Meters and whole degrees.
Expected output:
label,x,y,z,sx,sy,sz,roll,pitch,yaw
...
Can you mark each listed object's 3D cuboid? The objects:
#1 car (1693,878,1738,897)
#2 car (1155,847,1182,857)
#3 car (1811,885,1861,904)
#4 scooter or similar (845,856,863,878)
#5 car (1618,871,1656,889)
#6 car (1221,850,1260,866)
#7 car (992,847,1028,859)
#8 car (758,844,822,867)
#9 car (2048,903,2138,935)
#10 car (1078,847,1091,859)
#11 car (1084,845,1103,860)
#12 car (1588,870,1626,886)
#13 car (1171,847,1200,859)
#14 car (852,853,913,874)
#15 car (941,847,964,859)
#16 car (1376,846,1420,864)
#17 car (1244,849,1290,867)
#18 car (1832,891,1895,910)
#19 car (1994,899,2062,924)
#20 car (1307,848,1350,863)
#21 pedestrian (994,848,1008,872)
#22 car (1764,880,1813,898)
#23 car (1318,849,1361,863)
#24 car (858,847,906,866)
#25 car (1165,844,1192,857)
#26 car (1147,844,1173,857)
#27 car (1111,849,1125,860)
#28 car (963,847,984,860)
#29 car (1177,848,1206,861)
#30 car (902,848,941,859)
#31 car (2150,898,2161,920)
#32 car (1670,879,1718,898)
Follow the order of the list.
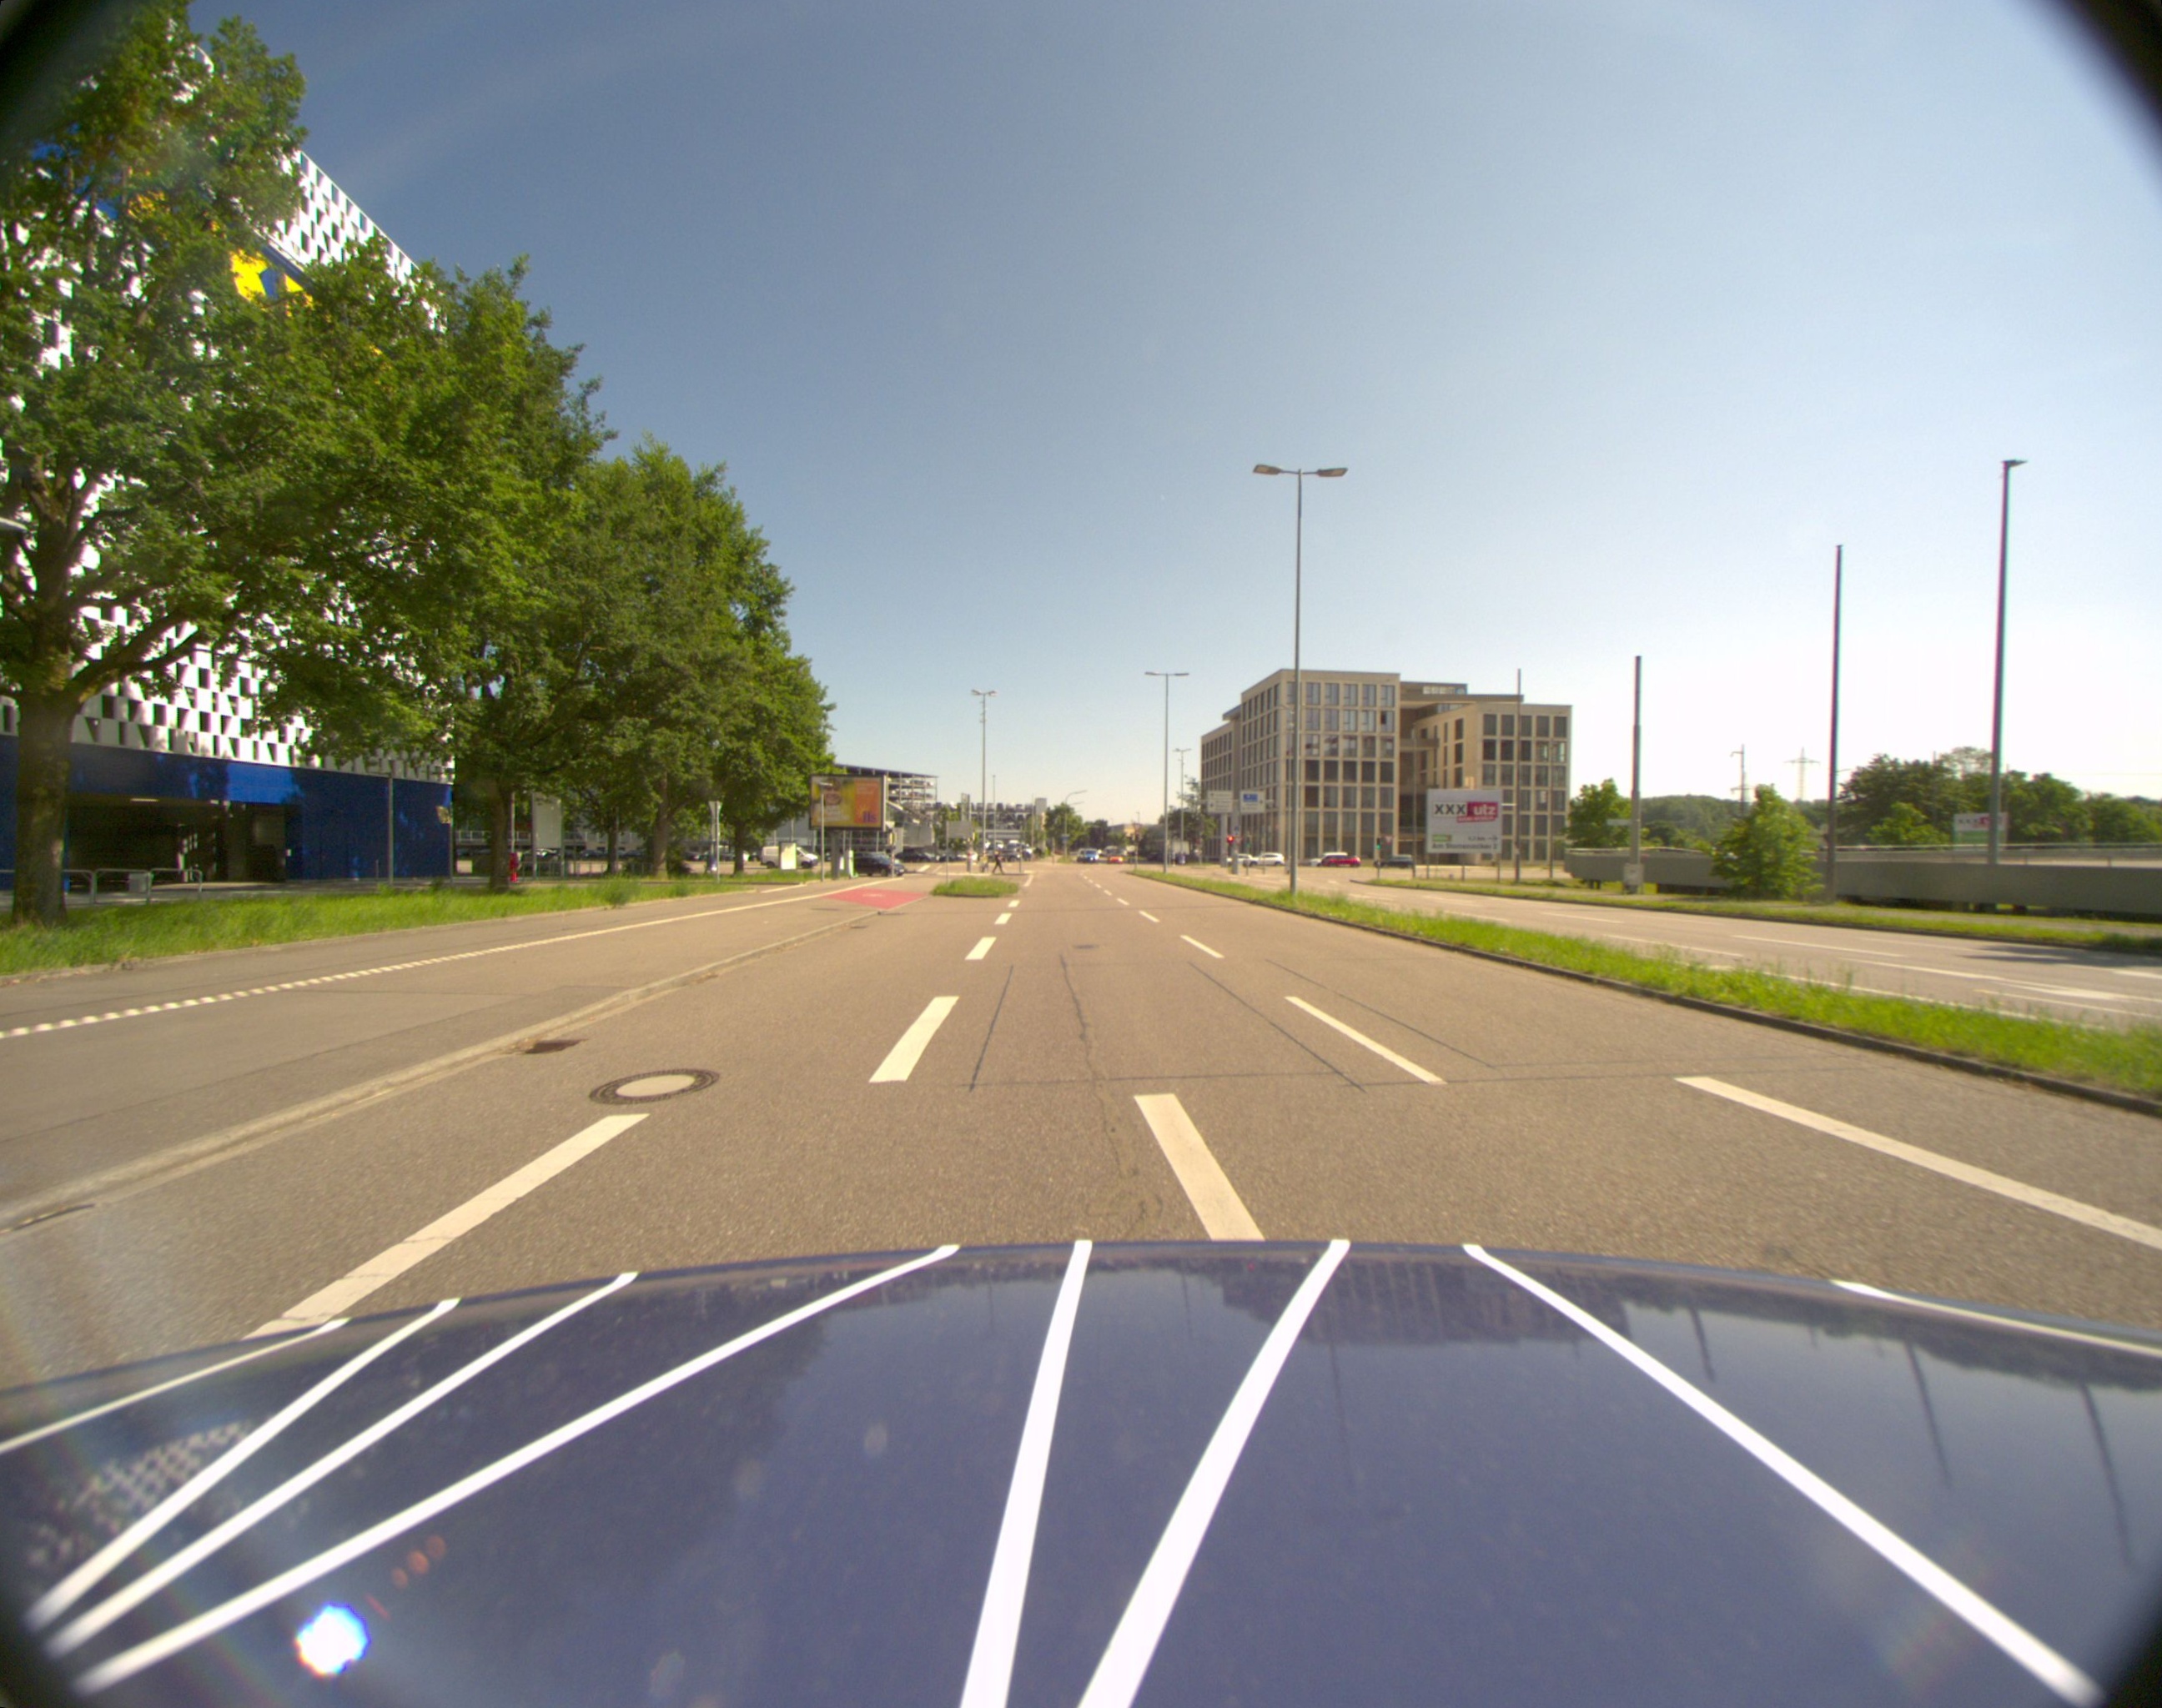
label,x,y,z,sx,sy,sz,roll,pitch,yaw
car,34.662,1.837,41.518,1.848,0.970,0.865,0,2,-7
car,14.279,-0.324,123.886,3.992,1.605,2.002,1,1,16
car,41.377,2.207,41.655,1.943,0.970,0.886,0,2,-6
scooter or similar,-12.162,0.682,40.787,0.402,1.160,1.185,0,2,12
car,29.958,1.398,40.922,1.506,0.877,0.791,0,2,-7
car,17.756,0.399,84.579,3.767,1.703,1.832,0,2,-10
car,-9.034,-0.152,96.817,4.480,1.578,1.979,0,1,-4
car,-25.814,0.091,67.605,4.999,1.996,1.739,0,2,-7
car,35.825,2.298,26.922,1.943,0.970,1.070,0,2,-7
car,0.445,-0.139,103.527,1.667,1.548,3.853,0,2,-3
car,1.643,-0.175,97.218,2.185,1.898,4.731,0,1,4
car,34.179,1.566,49.391,1.943,0.970,0.889,0,1,-7
car,15.622,-0.158,113.065,3.992,1.816,2.002,1,1,16
car,-14.663,0.686,56.116,4.227,1.456,1.774,0,3,27
car,-15.422,-0.104,91.382,1.998,1.452,3.999,0,1,0
car,35.886,0.097,86.041,4.242,1.878,1.833,0,2,-4
car,19.963,0.398,81.673,4.312,1.827,2.024,0,2,-9
car,35.354,2.091,34.330,2.087,0.729,0.906,0,2,-7
car,43.152,2.609,34.644,1.943,0.970,1.070,0,2,-7
car,27.898,0.146,85.827,4.231,1.701,1.903,0,1,-7
pedestrian,-6.028,0.420,57.481,0.705,1.769,0.961,1,1,20
car,40.914,1.998,43.938,1.943,0.969,1.070,1,1,-6
car,28.065,0.178,82.523,4.119,1.519,1.530,0,1,-7
car,-17.970,0.204,68.745,3.828,1.604,1.759,0,2,1
car,15.365,-0.605,119.909,3.991,2.002,2.002,1,1,17
car,13.163,-0.581,126.635,3.992,2.002,2.002,1,1,16
car,4.866,0.049,98.336,1.738,1.356,3.866,0,1,4
car,-12.989,-0.130,91.758,1.887,1.452,3.999,0,2,0
car,15.998,0.117,109.890,3.994,1.729,2.001,1,2,9
car,-19.231,-0.055,91.745,4.351,1.342,1.820,0,1,-7
car,51.204,2.567,35.237,1.943,0.970,1.070,0,2,-7
car,34.745,1.931,43.091,1.943,1.002,1.071,1,-1,-5
